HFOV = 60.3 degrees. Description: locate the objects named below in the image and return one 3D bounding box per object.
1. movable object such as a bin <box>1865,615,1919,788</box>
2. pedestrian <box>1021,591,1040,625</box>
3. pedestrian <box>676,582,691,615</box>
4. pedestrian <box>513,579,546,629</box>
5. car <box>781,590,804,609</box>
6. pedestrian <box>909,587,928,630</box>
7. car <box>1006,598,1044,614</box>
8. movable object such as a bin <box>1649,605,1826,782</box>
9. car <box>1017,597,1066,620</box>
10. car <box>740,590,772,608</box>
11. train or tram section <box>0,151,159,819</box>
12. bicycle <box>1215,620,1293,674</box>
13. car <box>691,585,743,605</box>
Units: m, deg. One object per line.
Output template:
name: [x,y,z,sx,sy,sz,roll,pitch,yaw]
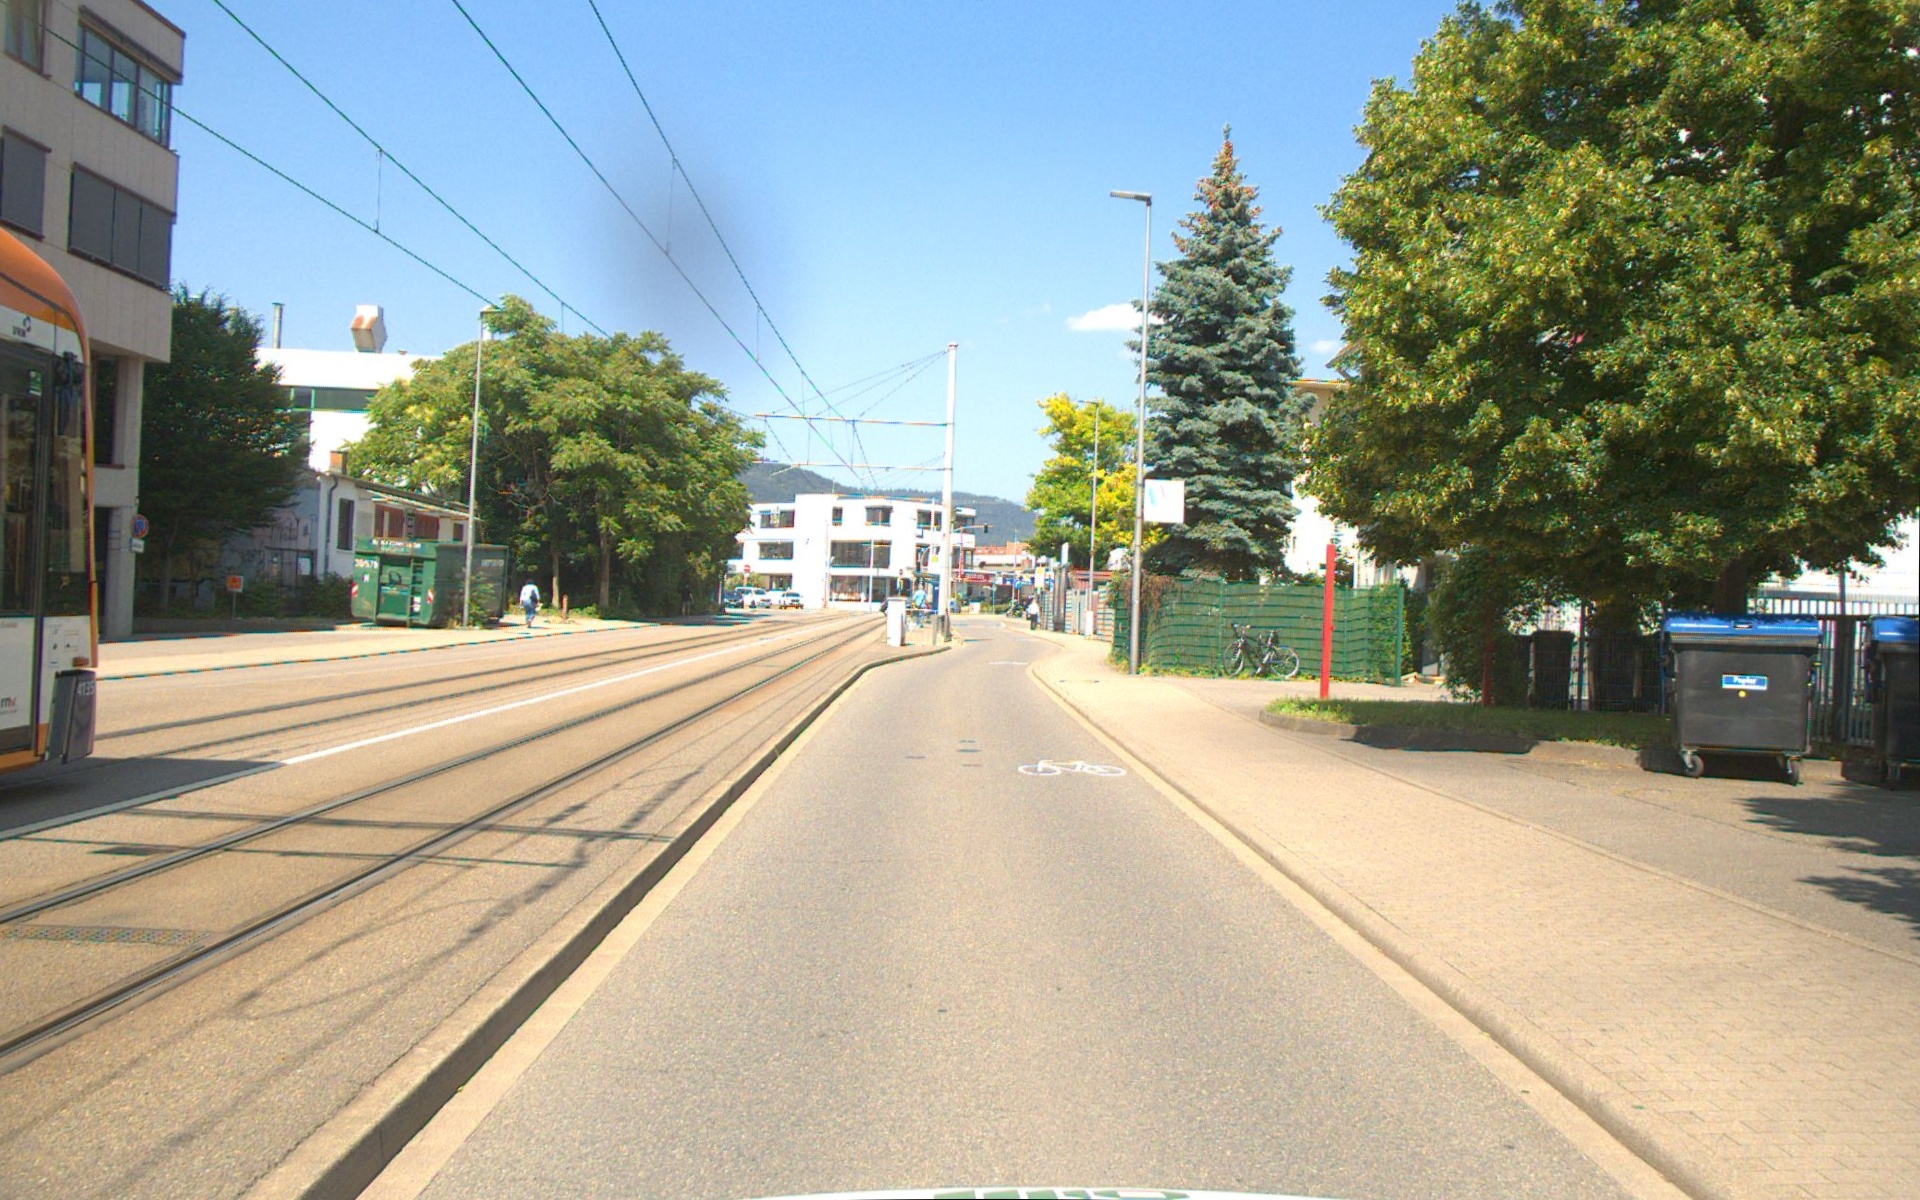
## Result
movable object such as a bin: [8.595,0.890,14.259,1.290,1.455,0.884,2,-2,24]
pedestrian: [3.939,0.459,92.417,0.921,1.818,0.953,2,1,-2]
pedestrian: [-13.654,-0.074,81.646,0.572,1.564,0.657,1,0,-1]
pedestrian: [-13.841,0.129,53.244,0.817,1.564,0.838,1,0,-1]
car: [-15.641,-0.065,154.070,1.725,1.676,3.751,1,0,-11]
pedestrian: [-1.737,0.367,69.133,0.728,1.771,0.727,1,0,-1]
car: [6.960,0.647,176.645,1.834,1.691,3.972,1,0,44]
movable object such as a bin: [6.885,0.813,14.706,1.356,1.455,0.990,2,-2,24]
car: [6.734,0.734,136.893,3.966,1.780,1.748,2,0,-43]
car: [-20.131,-0.138,163.089,1.904,1.676,3.729,1,0,-27]
train or tram section: [-6.283,-0.624,7.183,2.528,3.507,6.361,1,0,-1]
bicycle: [5.725,0.912,32.264,1.441,1.008,0.388,2,-3,-2]
car: [-20.280,-0.403,138.230,3.902,1.579,1.793,1,0,13]
